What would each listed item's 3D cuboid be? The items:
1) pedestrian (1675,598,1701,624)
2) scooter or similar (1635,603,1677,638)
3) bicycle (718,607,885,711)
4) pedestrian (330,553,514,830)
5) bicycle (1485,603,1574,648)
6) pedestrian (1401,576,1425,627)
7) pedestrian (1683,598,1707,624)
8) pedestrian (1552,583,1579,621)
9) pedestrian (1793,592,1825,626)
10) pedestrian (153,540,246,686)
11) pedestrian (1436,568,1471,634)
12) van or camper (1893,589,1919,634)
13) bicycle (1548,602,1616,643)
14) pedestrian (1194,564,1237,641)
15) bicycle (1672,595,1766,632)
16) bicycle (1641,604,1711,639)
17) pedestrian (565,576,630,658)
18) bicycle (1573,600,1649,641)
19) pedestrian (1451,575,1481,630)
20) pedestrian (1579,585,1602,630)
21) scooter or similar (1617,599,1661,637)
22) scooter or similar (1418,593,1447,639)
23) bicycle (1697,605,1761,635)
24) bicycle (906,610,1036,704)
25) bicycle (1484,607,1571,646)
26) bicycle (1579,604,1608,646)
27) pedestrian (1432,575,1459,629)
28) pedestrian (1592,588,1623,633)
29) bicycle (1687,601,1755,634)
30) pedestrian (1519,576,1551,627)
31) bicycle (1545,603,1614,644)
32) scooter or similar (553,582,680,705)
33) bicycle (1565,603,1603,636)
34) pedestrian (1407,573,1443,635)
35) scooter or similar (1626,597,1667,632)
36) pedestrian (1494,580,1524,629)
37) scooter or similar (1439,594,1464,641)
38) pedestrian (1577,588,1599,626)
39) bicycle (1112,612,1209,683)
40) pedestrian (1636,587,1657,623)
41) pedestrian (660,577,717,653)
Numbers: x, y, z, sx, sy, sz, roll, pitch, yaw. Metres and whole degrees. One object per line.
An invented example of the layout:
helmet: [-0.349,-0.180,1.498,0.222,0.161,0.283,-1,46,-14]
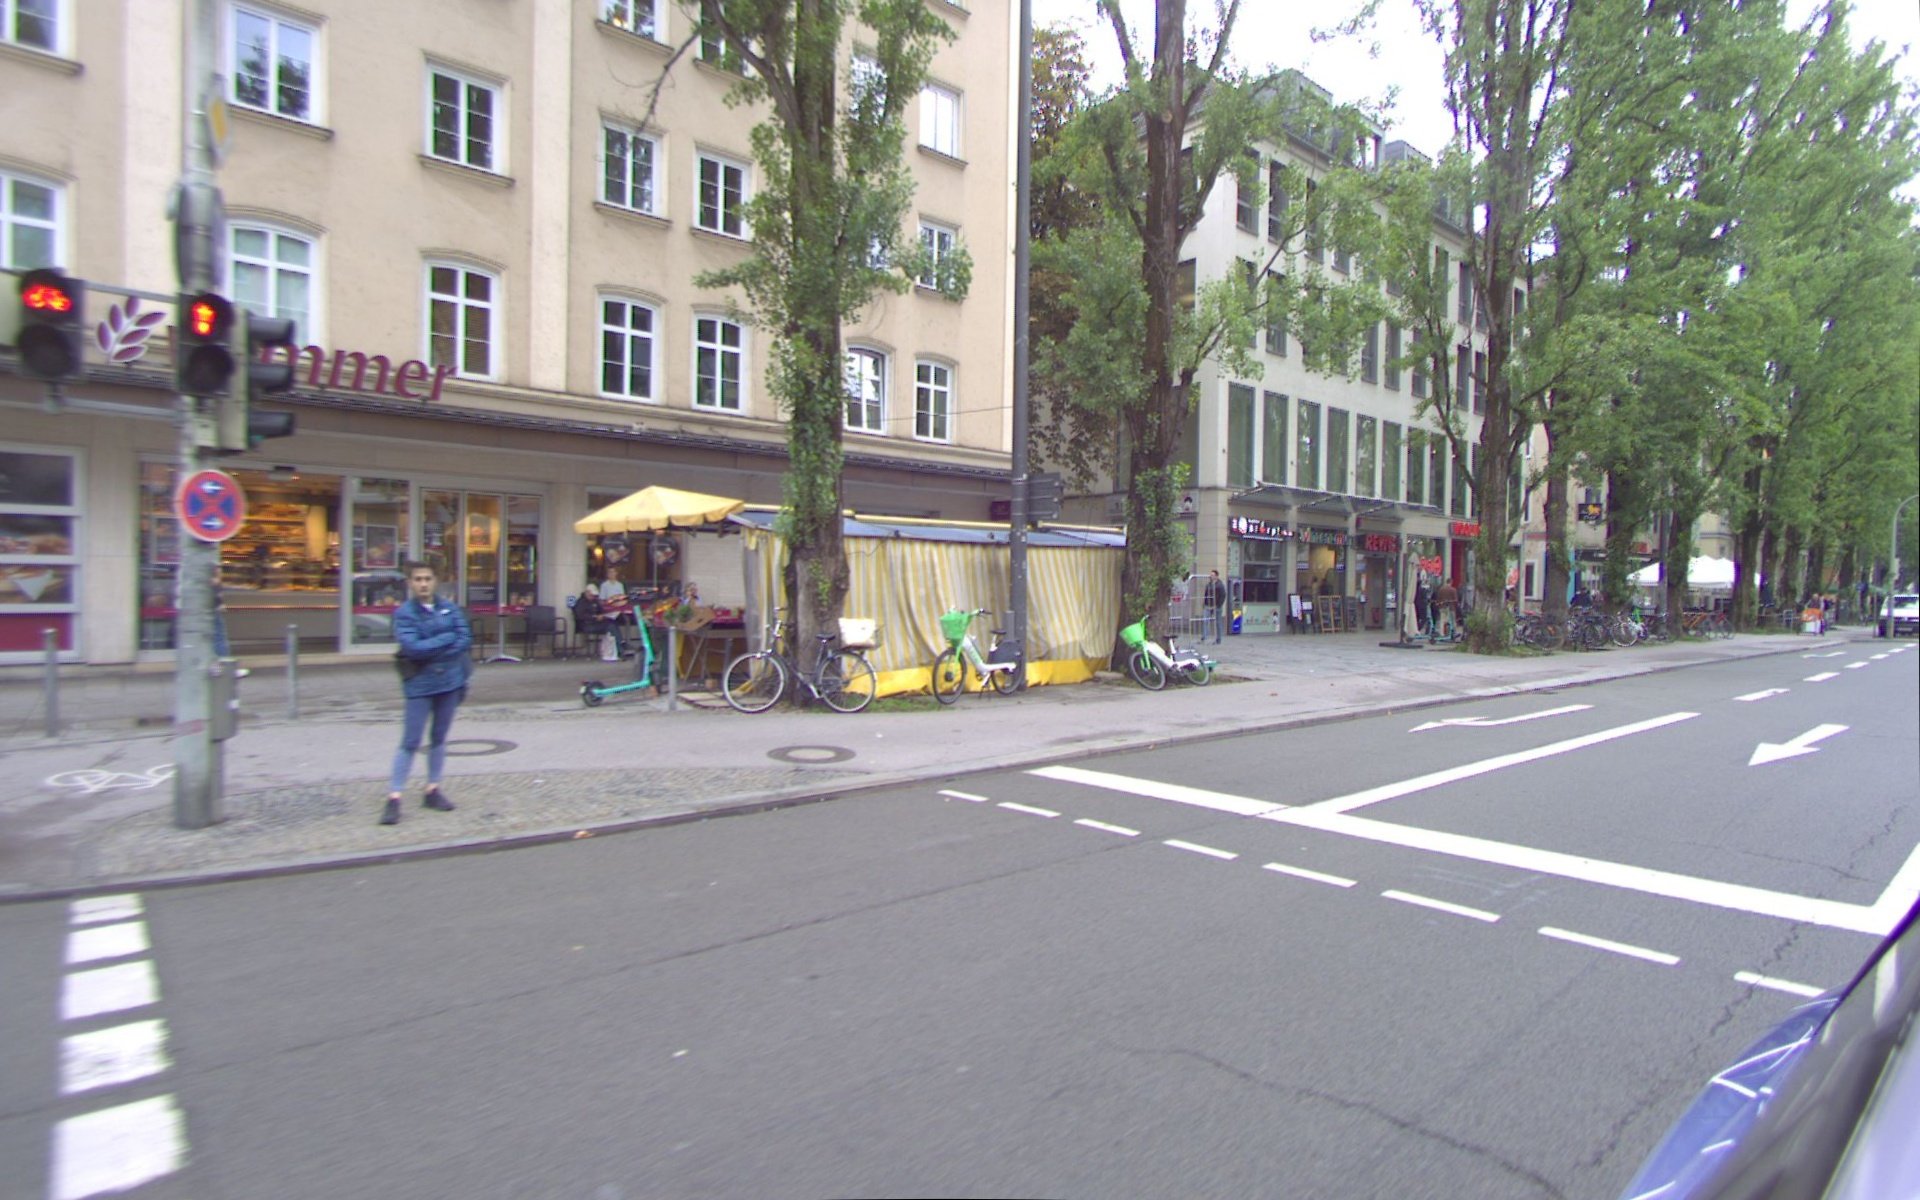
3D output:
pedestrian: [35.306,0.536,49.082,1.004,1.231,0.775,1,0,-38]
scooter or similar: [23.829,0.713,34.650,1.221,1.184,0.286,0,0,1]
bicycle: [-1.748,0.635,11.250,1.774,1.084,0.406,0,-4,-25]
pedestrian: [-3.460,0.526,6.515,0.850,1.630,0.766,1,1,-45]
bicycle: [14.850,0.651,26.429,1.991,1.096,0.282,2,1,33]
pedestrian: [15.821,0.049,35.314,0.631,1.790,0.547,1,0,-42]
pedestrian: [36.162,0.531,49.798,1.004,1.231,0.668,1,0,-38]
pedestrian: [26.416,0.093,44.151,0.998,1.624,0.764,1,0,-41]
pedestrian: [44.500,0.473,53.047,0.819,1.788,0.945,1,0,-3]
pedestrian: [-9.336,0.129,12.430,0.845,1.723,0.666,-2,3,-40]
pedestrian: [15.120,0.029,31.002,0.709,1.996,0.658,1,1,-38]
van or camper: [43.125,0.498,45.092,4.485,1.929,1.794,0,1,-41]
bicycle: [18.295,0.650,29.772,1.657,1.121,0.391,2,1,38]
pedestrian: [6.282,0.052,24.891,0.805,1.837,0.971,1,1,27]
bicycle: [27.670,0.487,36.919,0.948,1.230,2.576,1,1,-40]
bicycle: [23.322,0.689,32.996,0.385,1.022,1.847,1,2,-32]
pedestrian: [-5.893,0.261,16.438,0.687,1.213,0.871,0,5,-40]
bicycle: [19.466,0.599,30.285,1.864,1.149,0.335,2,1,41]
pedestrian: [16.855,0.063,33.679,0.662,1.807,0.658,0,1,-40]
pedestrian: [24.937,0.306,40.026,0.684,1.764,0.566,1,0,-38]
scooter or similar: [22.134,0.585,33.008,0.395,1.184,1.247,0,1,-12]
scooter or similar: [13.421,0.445,28.751,1.018,1.289,0.331,0,1,-41]
bicycle: [29.036,0.743,38.234,0.494,1.022,1.843,1,1,-40]
bicycle: [0.161,0.670,12.576,1.740,1.061,0.509,0,1,-43]
bicycle: [14.987,0.698,26.765,1.991,0.957,0.282,1,1,34]
bicycle: [17.282,0.662,27.612,0.433,1.074,1.977,2,1,38]
pedestrian: [16.431,0.052,34.262,0.662,1.807,0.566,0,1,-40]
pedestrian: [23.970,0.368,37.449,0.779,1.608,0.711,1,2,-41]
bicycle: [28.332,0.640,37.698,0.674,1.141,1.901,0,1,-40]
pedestrian: [21.476,0.048,37.791,0.806,1.893,0.754,1,1,-38]
bicycle: [18.020,0.671,29.463,1.669,1.131,0.282,2,1,38]
scooter or similar: [-3.741,0.444,11.108,0.405,1.259,1.356,1,1,32]
bicycle: [20.713,0.637,33.578,1.968,1.076,0.393,0,2,-38]
pedestrian: [14.440,0.116,31.432,0.889,1.874,0.658,1,1,-39]
scooter or similar: [23.775,0.498,35.065,1.220,1.184,0.307,0,0,-2]
pedestrian: [21.080,0.169,38.838,0.806,1.877,0.753,1,0,-40]
scooter or similar: [13.768,0.479,28.345,1.018,1.289,0.247,0,1,-41]
pedestrian: [26.029,0.288,41.938,0.684,1.539,0.566,1,0,-38]
bicycle: [3.027,0.683,15.178,1.740,0.987,0.509,0,1,-43]
pedestrian: [32.344,0.221,47.681,0.680,1.685,0.667,1,0,-42]
pedestrian: [-4.708,0.245,17.557,0.687,1.280,0.777,0,1,-40]
